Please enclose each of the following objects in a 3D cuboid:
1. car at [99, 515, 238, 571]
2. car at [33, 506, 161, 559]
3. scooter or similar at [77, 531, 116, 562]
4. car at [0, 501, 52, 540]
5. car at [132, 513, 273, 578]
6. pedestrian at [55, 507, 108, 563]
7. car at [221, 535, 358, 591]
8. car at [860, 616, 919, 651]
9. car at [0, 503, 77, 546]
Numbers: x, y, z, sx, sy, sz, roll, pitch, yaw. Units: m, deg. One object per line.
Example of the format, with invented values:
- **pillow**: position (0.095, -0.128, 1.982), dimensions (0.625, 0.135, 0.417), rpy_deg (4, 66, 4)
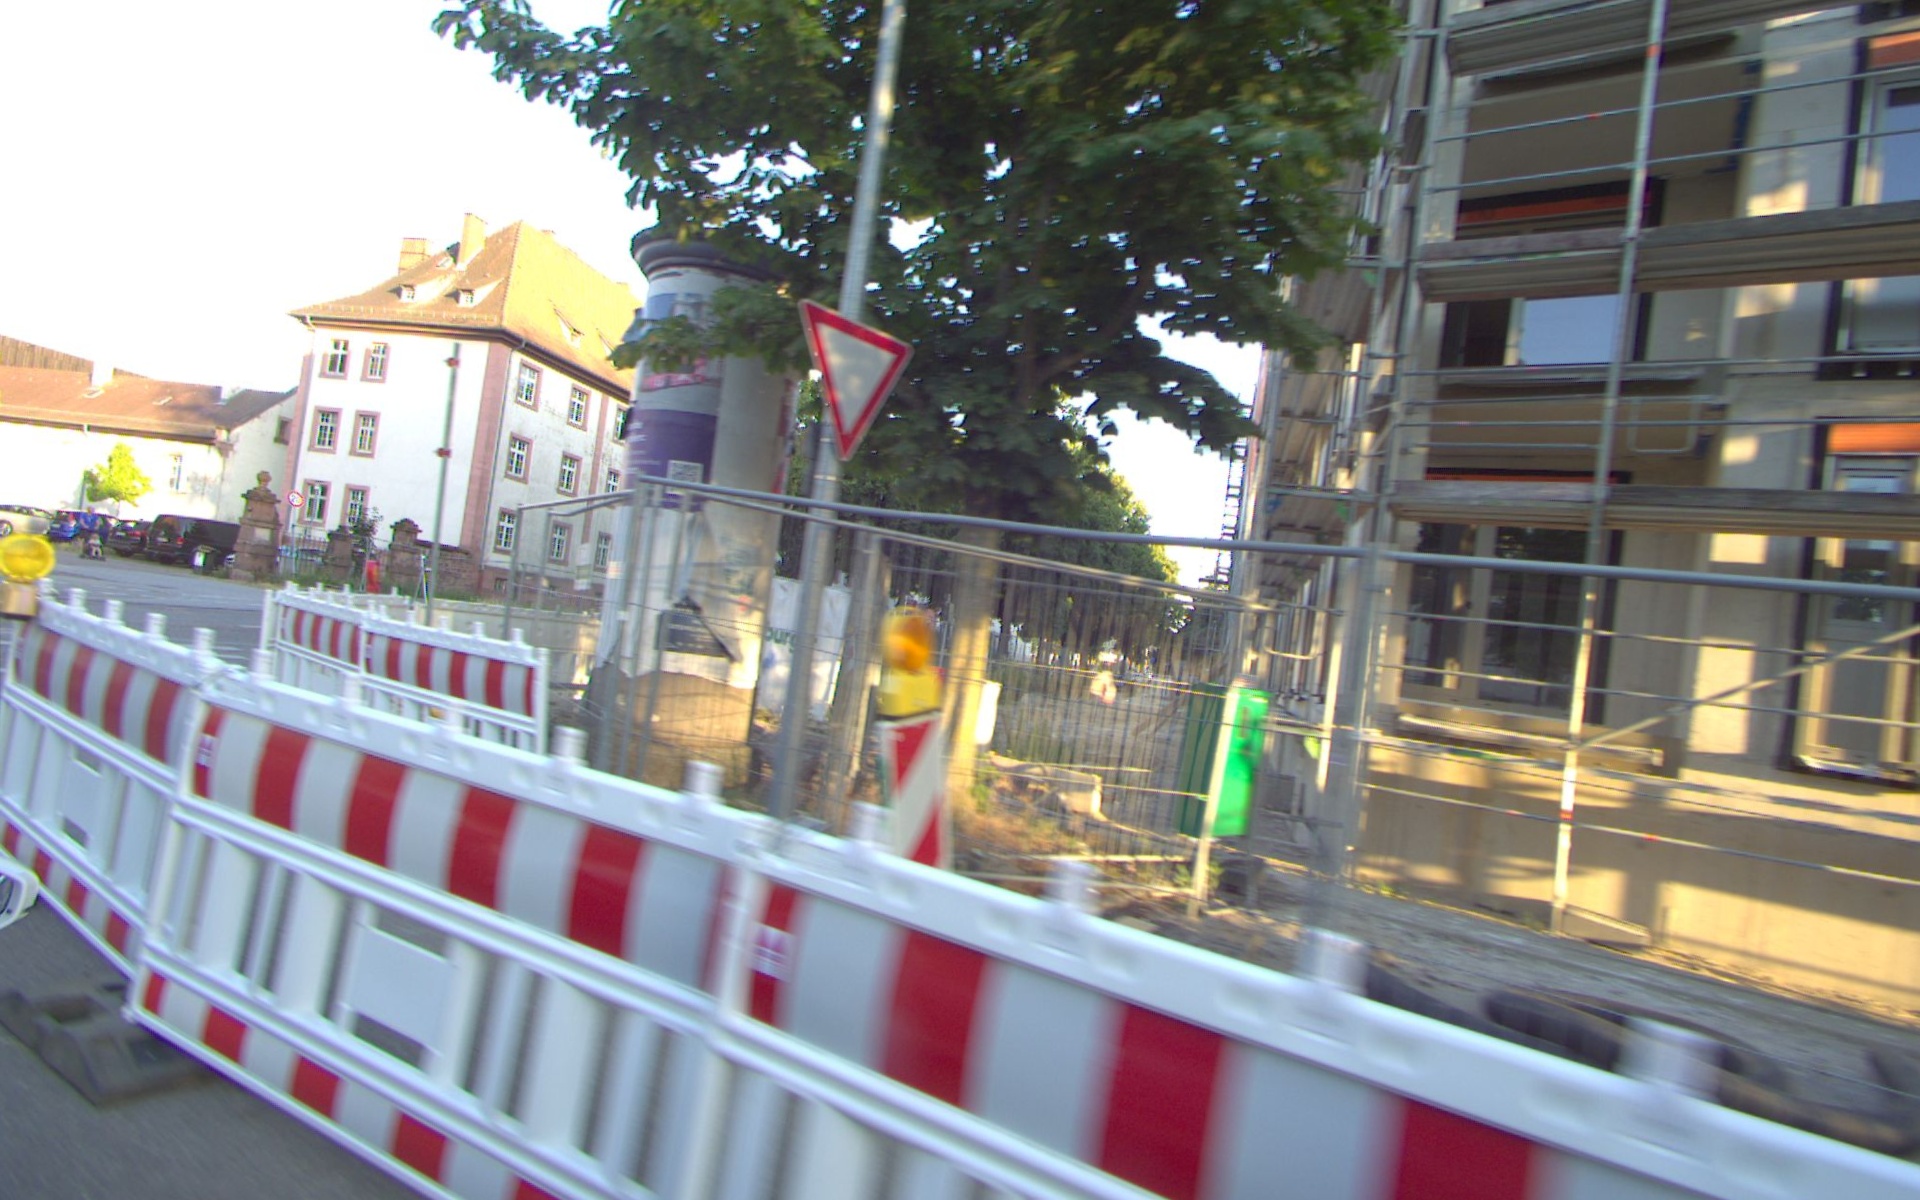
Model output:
- **car**: position (-32.464, -2.292, 41.418), dimensions (1.962, 1.590, 4.007), rpy_deg (8, -3, 12)
- **car**: position (-36.748, -2.829, 42.946), dimensions (1.655, 1.546, 3.759), rpy_deg (8, -3, 12)
- **scooter or similar**: position (-28.552, -1.763, 33.264), dimensions (0.791, 0.900, 0.516), rpy_deg (7, -2, 16)
- **car**: position (-43.420, -3.773, 45.003), dimensions (1.655, 1.461, 3.759), rpy_deg (8, -3, 12)
- **car**: position (-30.150, -2.122, 40.222), dimensions (1.962, 1.879, 4.007), rpy_deg (8, -3, 12)
- **pedestrian**: position (-29.346, -2.176, 33.611), dimensions (0.995, 1.661, 0.753), rpy_deg (7, -2, 17)
- **car**: position (-25.696, -1.382, 38.712), dimensions (1.962, 1.475, 4.007), rpy_deg (8, -3, 12)
- **car**: position (-5.417, 2.592, 77.370), dimensions (3.924, 2.036, 2.003), rpy_deg (8, -2, 11)
- **car**: position (-41.236, -3.406, 43.822), dimensions (1.655, 1.461, 3.759), rpy_deg (8, -3, 12)
